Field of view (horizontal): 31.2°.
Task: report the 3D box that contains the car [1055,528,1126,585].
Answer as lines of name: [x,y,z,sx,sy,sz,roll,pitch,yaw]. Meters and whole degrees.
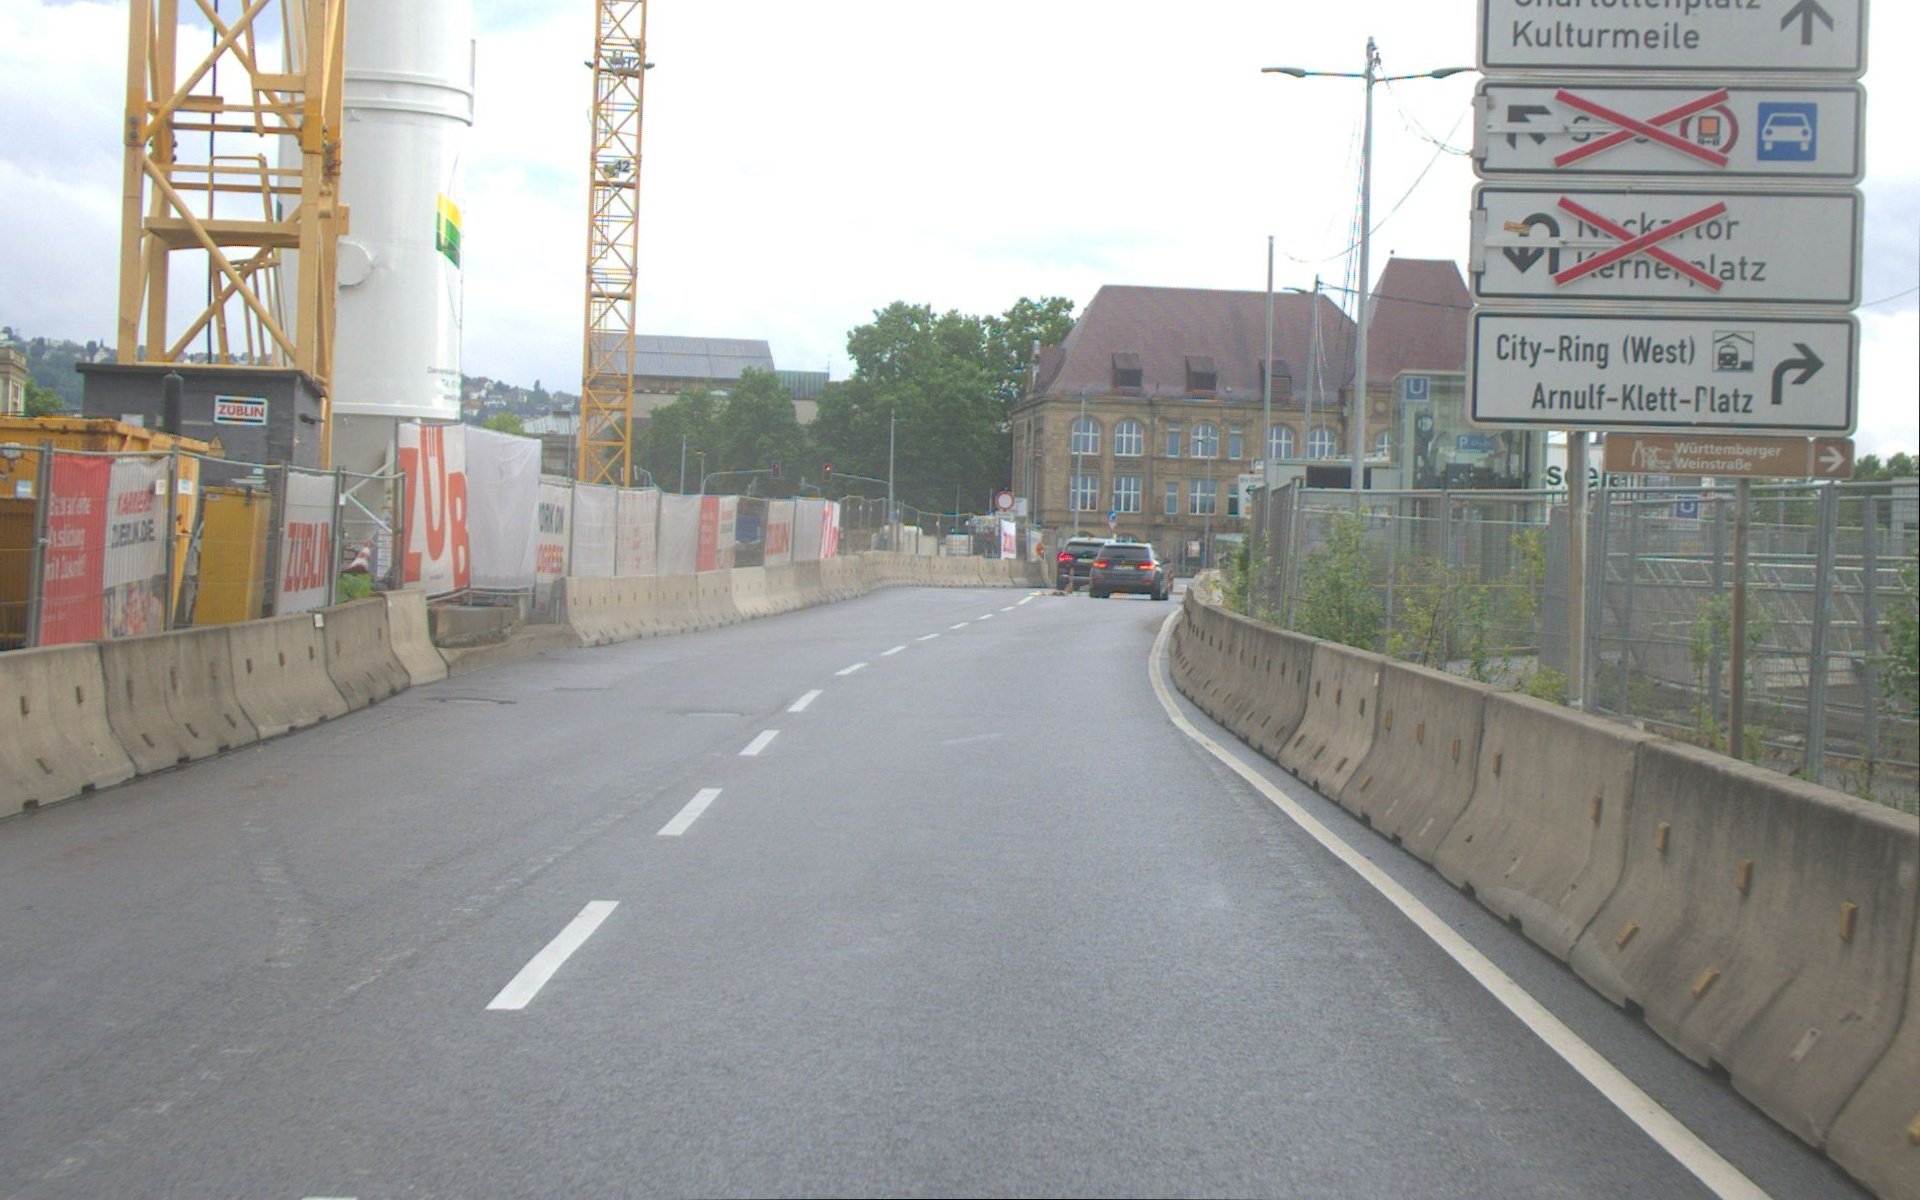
car: [4.047,-1.330,105.947,1.863,1.655,4.655,3,1,5]

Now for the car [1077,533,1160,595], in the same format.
car: [4.048,-0.903,87.416,1.863,1.428,4.655,2,0,5]
